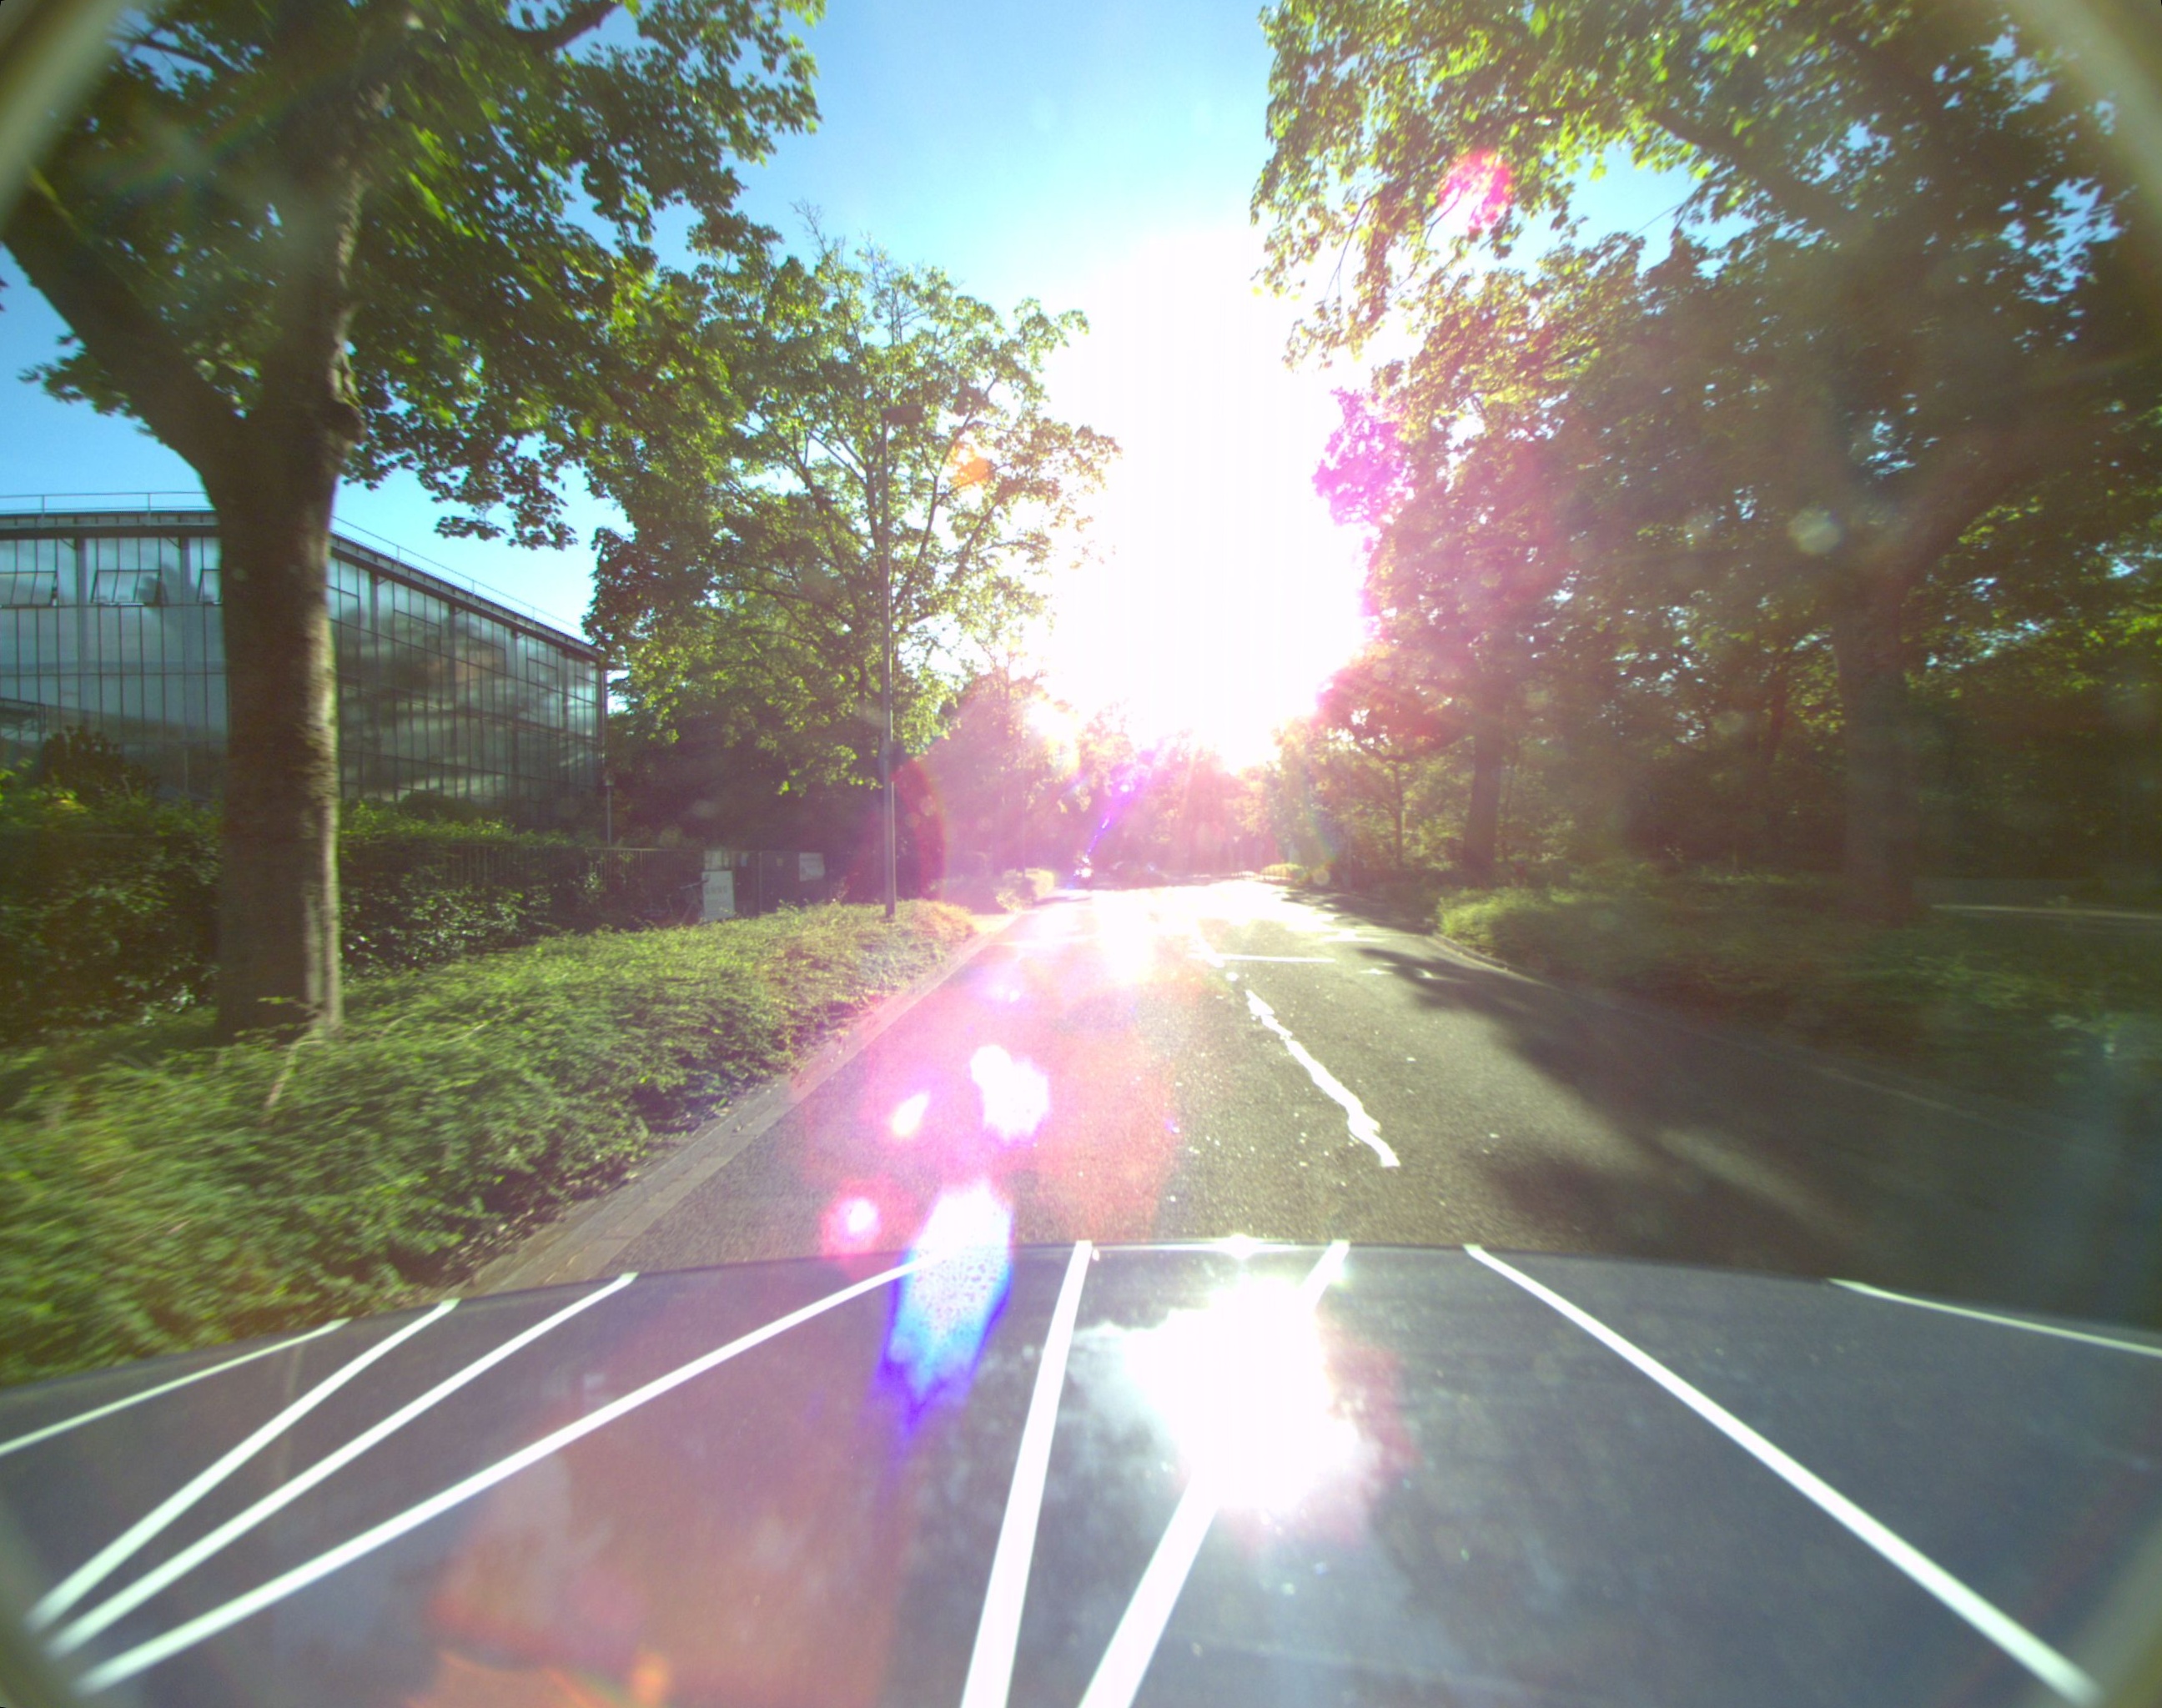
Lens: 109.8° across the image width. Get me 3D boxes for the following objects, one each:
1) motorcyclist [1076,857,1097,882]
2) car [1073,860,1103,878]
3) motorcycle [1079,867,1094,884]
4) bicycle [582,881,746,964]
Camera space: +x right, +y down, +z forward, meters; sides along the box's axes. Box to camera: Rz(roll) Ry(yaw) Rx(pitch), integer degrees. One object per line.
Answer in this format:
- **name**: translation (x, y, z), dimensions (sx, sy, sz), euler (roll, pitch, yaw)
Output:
- **motorcyclist**: translation (0.339, 0.916, 45.183), dimensions (1.138, 1.419, 1.567), euler (-3, 0, 1)
- **car**: translation (0.555, 1.195, 63.307), dimensions (1.999, 1.365, 4.172), euler (-2, 0, -6)
- **motorcycle**: translation (0.328, 1.281, 45.261), dimensions (0.807, 0.907, 2.713), euler (-3, 0, 0)
- **bicycle**: translation (-6.954, 1.084, 12.839), dimensions (0.884, 1.193, 2.330), euler (1, 0, 25)
